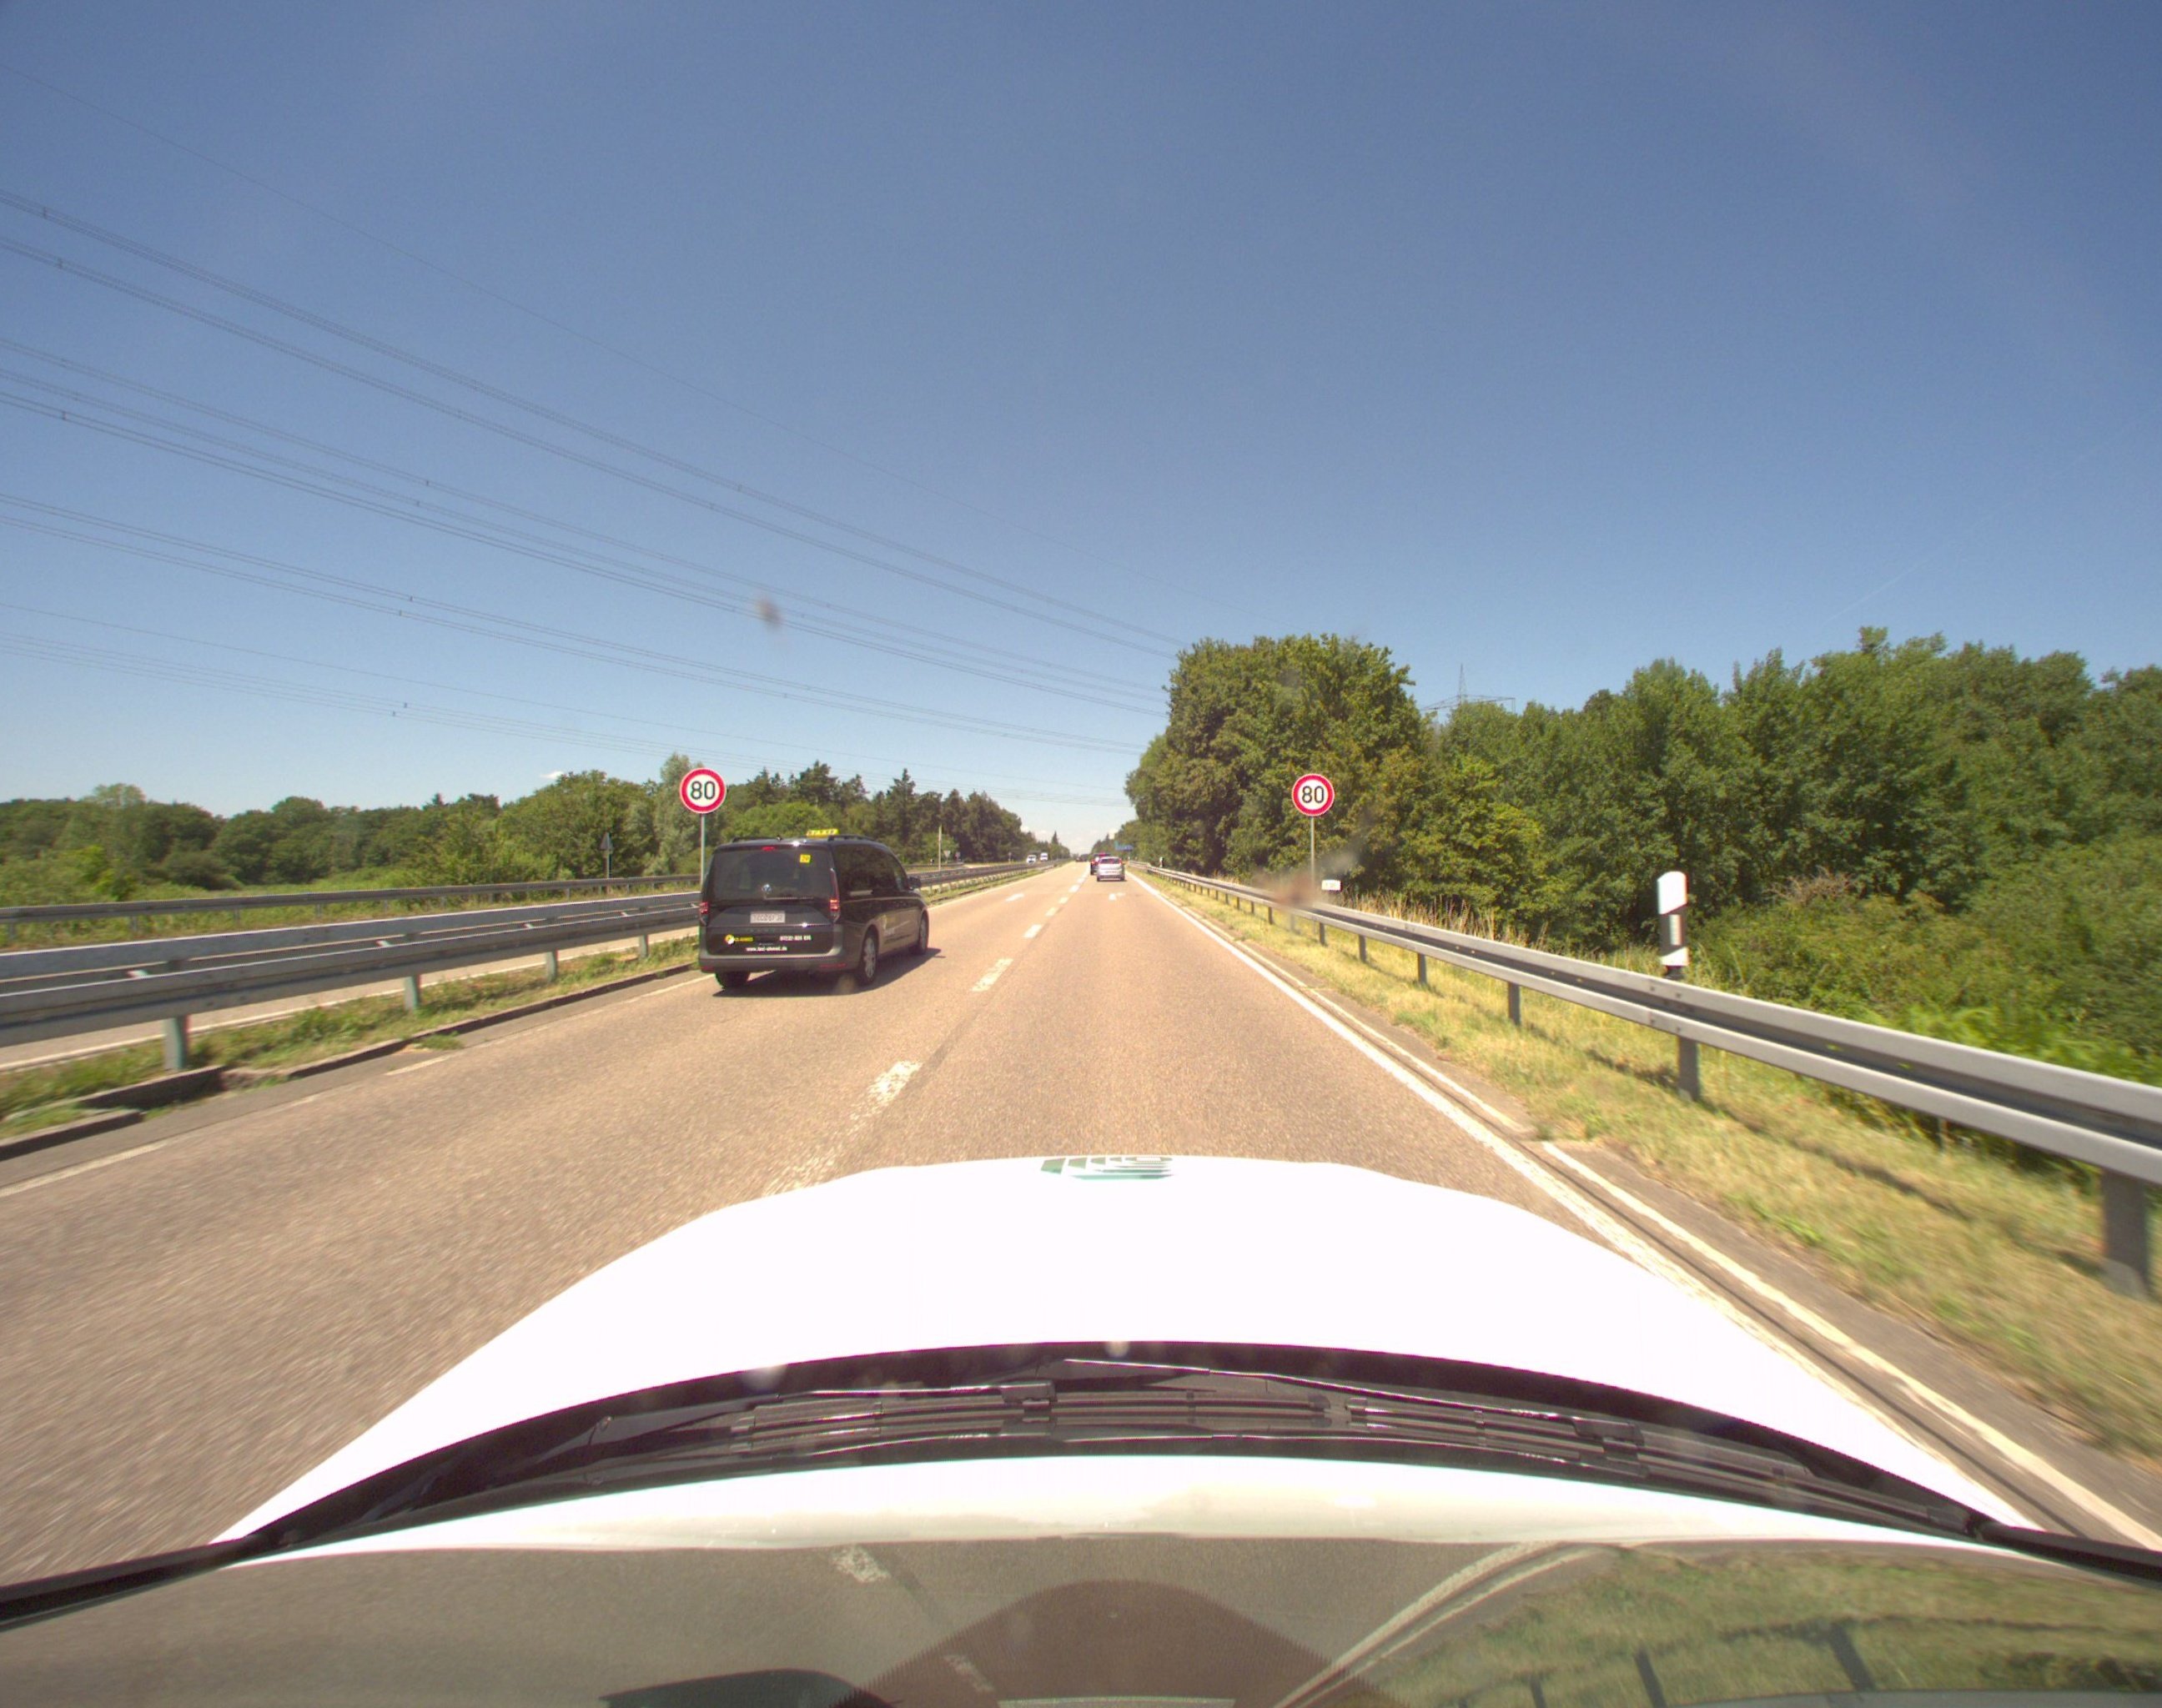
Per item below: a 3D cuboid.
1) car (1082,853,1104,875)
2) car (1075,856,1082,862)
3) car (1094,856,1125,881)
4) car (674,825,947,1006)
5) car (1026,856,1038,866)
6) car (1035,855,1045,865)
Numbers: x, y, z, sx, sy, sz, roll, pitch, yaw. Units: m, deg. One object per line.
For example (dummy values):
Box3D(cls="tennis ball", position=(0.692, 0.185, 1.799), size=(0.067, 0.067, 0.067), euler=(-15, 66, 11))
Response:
Box3D(cls="car", position=(0.908, 0.789, 65.393), size=(1.635, 1.654, 3.572), euler=(1, 0, -1))
Box3D(cls="car", position=(-0.537, 1.301, 210.509), size=(1.706, 1.471, 3.574), euler=(1, 0, 1))
Box3D(cls="car", position=(1.705, 0.851, 49.167), size=(1.636, 1.468, 3.416), euler=(1, 0, -2))
Box3D(cls="car", position=(-3.337, 0.674, 11.464), size=(1.848, 1.887, 5.574), euler=(-1, 0, 1))
Box3D(cls="car", position=(-10.362, 1.488, 173.782), size=(1.883, 1.992, 5.536), euler=(-2, 0, 3))
Box3D(cls="car", position=(-11.996, 1.776, 238.532), size=(2.517, 2.618, 7.183), euler=(-3, 0, -1))
